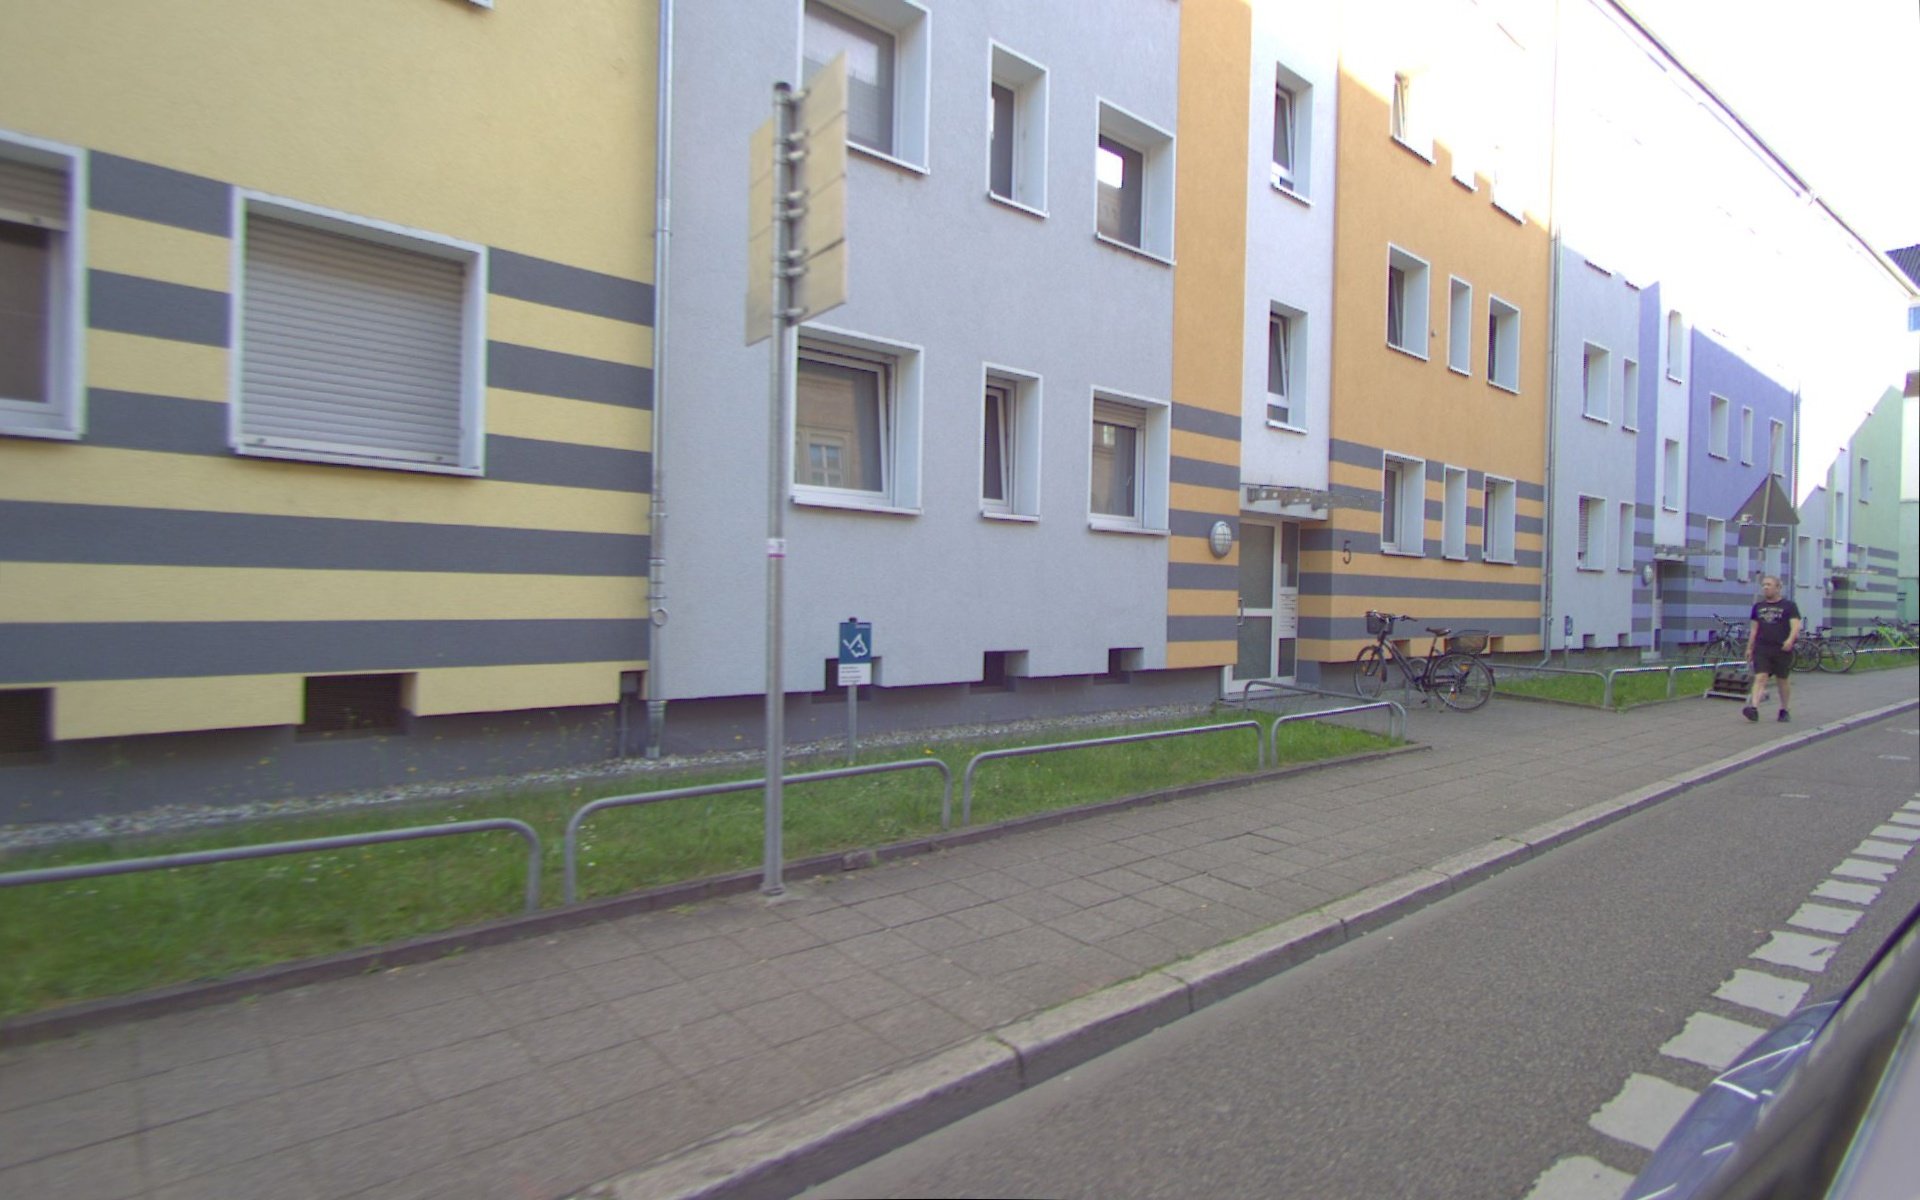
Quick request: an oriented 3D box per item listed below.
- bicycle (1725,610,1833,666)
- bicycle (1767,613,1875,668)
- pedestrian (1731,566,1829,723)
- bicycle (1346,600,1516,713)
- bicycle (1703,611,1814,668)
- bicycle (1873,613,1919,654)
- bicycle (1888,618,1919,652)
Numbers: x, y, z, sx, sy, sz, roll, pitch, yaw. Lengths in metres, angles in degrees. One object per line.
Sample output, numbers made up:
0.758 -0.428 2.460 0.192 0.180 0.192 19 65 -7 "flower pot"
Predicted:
17.763 0.802 21.978 0.625 1.095 1.709 1 2 -42 "bicycle"
18.725 0.862 22.039 0.626 1.048 1.708 1 2 -44 "bicycle"
10.001 0.514 12.340 0.899 1.810 0.646 1 4 -40 "pedestrian"
5.604 0.632 12.117 0.626 1.173 1.708 1 2 -44 "bicycle"
16.818 0.805 21.347 0.625 1.058 1.710 1 2 -41 "bicycle"
28.084 1.002 29.806 0.575 1.117 1.708 1 2 -44 "bicycle"
29.283 1.084 30.621 0.507 0.990 1.708 1 2 -44 "bicycle"
